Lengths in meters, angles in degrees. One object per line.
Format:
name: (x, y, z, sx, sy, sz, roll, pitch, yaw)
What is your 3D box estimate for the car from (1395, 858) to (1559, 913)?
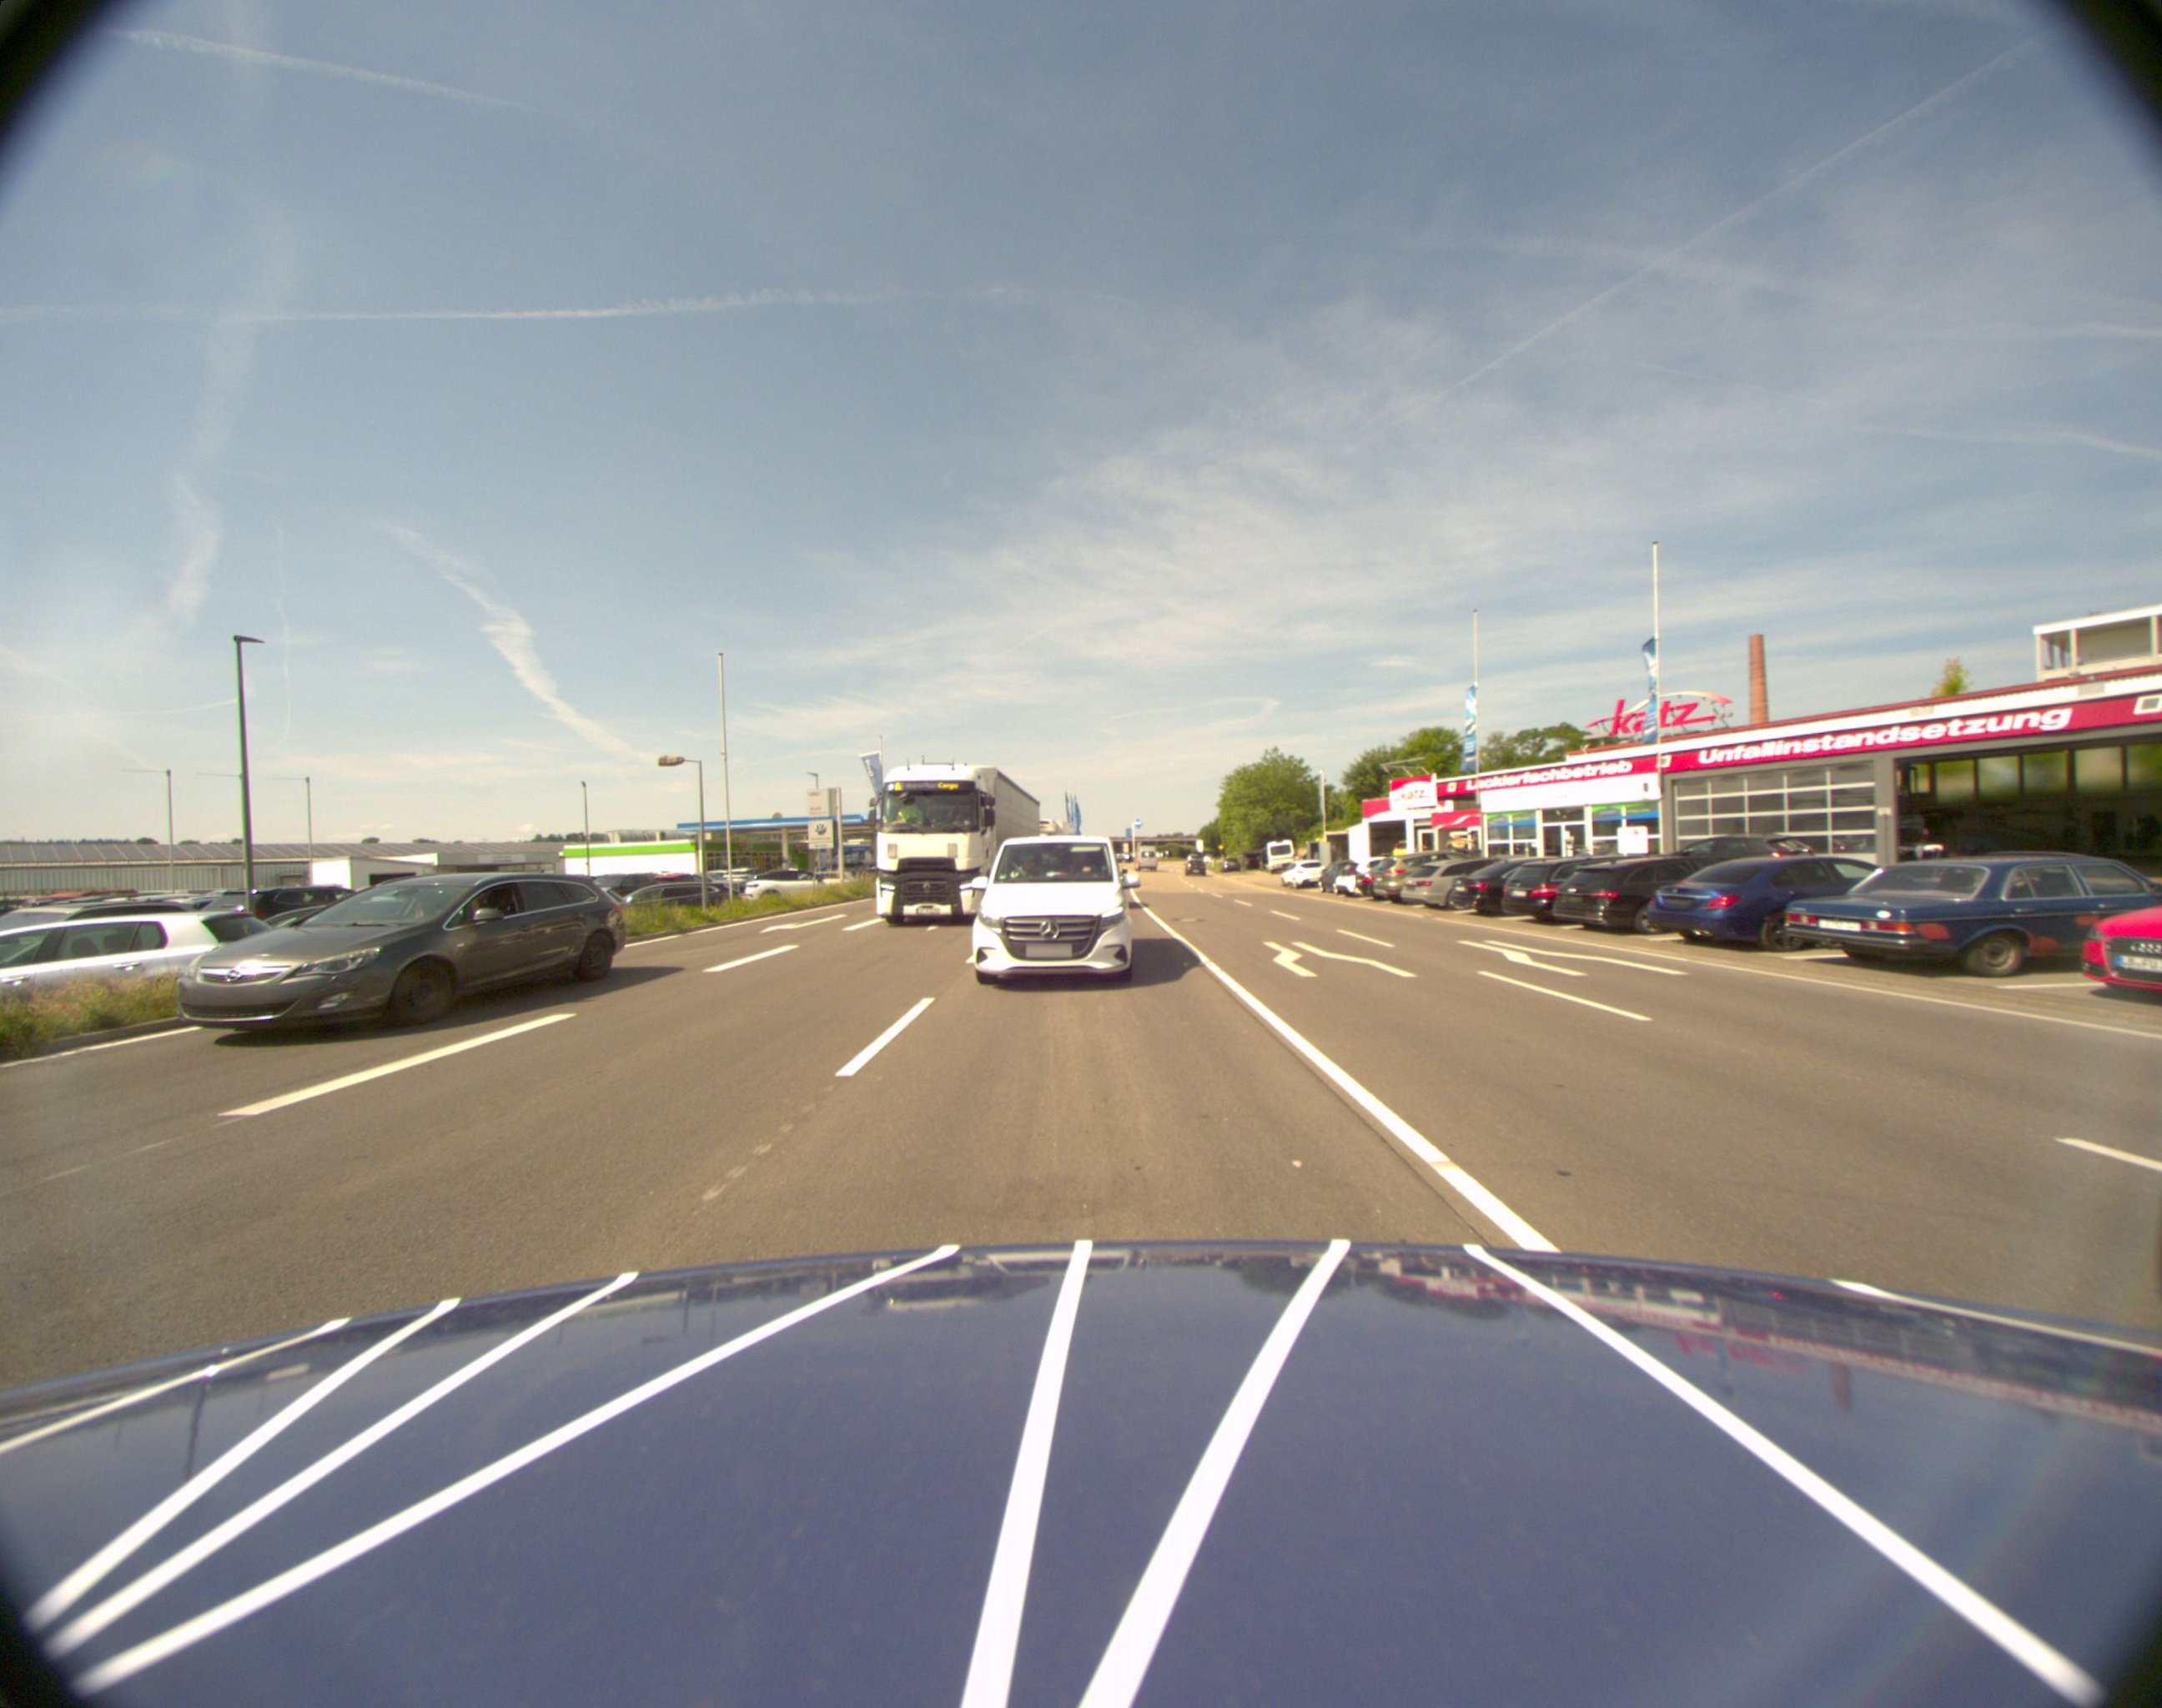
car: (11.681, 0.899, 22.595, 3.974, 1.484, 1.739, -1, 0, -2)

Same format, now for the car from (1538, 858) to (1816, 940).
car: (11.710, 0.846, 15.168, 3.997, 1.443, 1.946, -1, 0, 1)

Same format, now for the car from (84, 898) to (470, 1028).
car: (-12.609, 1.613, 12.373, 4.007, 1.543, 1.771, -1, 0, -35)

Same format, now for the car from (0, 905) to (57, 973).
car: (-29.436, 2.295, 18.813, 1.821, 1.719, 4.540, -1, 0, 6)

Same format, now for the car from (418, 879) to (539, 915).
car: (-28.178, 1.975, 35.749, 1.774, 1.432, 4.540, -1, 0, 6)

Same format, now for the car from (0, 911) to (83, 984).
car: (-26.931, 2.322, 17.460, 1.774, 1.644, 4.540, -1, 0, 6)

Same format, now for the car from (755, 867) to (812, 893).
car: (-19.884, 1.719, 50.927, 1.774, 1.571, 4.150, -1, 0, 6)

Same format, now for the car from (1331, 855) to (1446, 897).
car: (12.234, 0.871, 30.381, 3.798, 1.542, 1.941, -1, 0, -1)

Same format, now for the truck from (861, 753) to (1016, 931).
truck: (-3.475, -0.273, 20.179, 2.647, 3.963, 6.042, -1, 0, 2)

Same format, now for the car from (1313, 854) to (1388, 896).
car: (11.823, 0.871, 33.565, 1.998, 1.546, 4.001, -5, 0, 4)

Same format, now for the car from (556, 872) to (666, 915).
car: (-20.931, 1.717, 34.098, 1.774, 1.644, 4.540, -1, 0, 6)

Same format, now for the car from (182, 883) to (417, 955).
car: (-21.831, 1.736, 21.565, 1.774, 1.644, 4.539, -1, 0, 4)

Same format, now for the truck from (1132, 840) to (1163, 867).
truck: (7.038, -0.041, 81.562, 2.442, 2.820, 6.040, -1, 0, -3)

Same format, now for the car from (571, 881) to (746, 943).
car: (-12.935, 1.710, 23.464, 4.545, 1.571, 1.772, -1, 0, -31)

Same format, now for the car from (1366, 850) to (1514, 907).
car: (11.801, 0.781, 25.174, 3.996, 1.717, 1.871, -1, 0, 2)

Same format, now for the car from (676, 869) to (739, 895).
car: (-25.010, 1.826, 51.072, 1.774, 1.571, 4.240, -1, 0, 6)

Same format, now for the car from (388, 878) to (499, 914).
car: (-30.722, 1.982, 36.791, 1.607, 1.523, 4.131, -1, 0, 6)

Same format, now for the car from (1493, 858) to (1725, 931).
car: (11.829, 0.880, 17.255, 3.877, 1.490, 1.949, -1, 0, 3)

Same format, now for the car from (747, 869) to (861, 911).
car: (-12.259, 1.535, 33.626, 4.544, 1.645, 1.772, -1, 0, -26)

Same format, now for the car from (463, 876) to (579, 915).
car: (-25.874, 1.884, 35.322, 1.689, 1.517, 4.540, -1, 0, 6)

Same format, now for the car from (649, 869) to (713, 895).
car: (-27.279, 1.874, 52.028, 1.720, 1.571, 4.326, -1, 0, 6)

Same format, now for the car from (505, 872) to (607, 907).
car: (-28.119, 1.867, 40.891, 1.773, 1.644, 4.541, -1, 0, 9)

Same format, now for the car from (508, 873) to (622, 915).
car: (-23.442, 1.769, 34.747, 1.774, 1.644, 4.540, -1, 0, 6)

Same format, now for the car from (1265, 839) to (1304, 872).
car: (16.504, 0.104, 61.444, 2.435, 2.529, 6.050, -2, 0, 20)

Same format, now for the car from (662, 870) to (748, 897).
car: (-23.268, 1.815, 47.091, 4.532, 1.571, 1.777, -1, 0, 7)

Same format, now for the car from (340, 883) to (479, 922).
car: (-27.649, 1.972, 31.333, 4.530, 1.450, 1.951, -1, 0, 12)

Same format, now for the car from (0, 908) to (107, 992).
car: (-23.984, 2.126, 15.700, 1.969, 1.644, 4.536, -1, 0, -3)

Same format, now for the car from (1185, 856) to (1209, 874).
car: (10.181, 0.920, 66.682, 1.858, 1.452, 4.002, -1, 0, 6)

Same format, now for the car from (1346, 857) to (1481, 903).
car: (12.010, 0.920, 27.646, 3.997, 1.516, 2.000, -1, 0, -1)

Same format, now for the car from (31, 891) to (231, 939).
car: (-37.052, 2.326, 29.817, 1.819, 1.466, 4.545, -1, 0, 22)

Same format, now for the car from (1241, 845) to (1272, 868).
car: (18.117, 0.252, 78.701, 2.438, 2.250, 5.341, -2, 0, 5)

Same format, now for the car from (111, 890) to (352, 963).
car: (-24.102, 1.994, 21.862, 1.774, 1.644, 4.434, -1, 0, 4)

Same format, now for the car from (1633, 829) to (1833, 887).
car: (20.580, 0.132, 24.262, 1.877, 1.644, 4.530, -2, 0, -16)

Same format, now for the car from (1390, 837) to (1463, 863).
car: (24.248, -0.273, 53.398, 4.539, 1.644, 1.873, -2, 0, -18)

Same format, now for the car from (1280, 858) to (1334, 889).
car: (11.909, 0.986, 40.326, 1.765, 1.406, 4.001, -5, 0, 3)

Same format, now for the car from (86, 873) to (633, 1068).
car: (-7.478, 1.055, 8.721, 1.998, 1.511, 4.449, -1, 0, 0)

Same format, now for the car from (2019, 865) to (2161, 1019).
car: (12.313, 0.827, 7.412, 3.948, 1.423, 1.828, -1, 0, 2)

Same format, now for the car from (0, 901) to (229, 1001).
car: (-21.395, 1.962, 15.907, 1.908, 1.644, 4.708, -1, 0, -3)

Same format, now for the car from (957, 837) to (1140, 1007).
car: (-0.332, 0.755, 11.365, 1.993, 1.858, 5.803, -1, 0, 1)

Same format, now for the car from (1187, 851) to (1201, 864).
car: (17.128, 0.537, 114.916, 1.975, 1.812, 4.205, 0, 0, 7)

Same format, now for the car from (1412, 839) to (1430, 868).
car: (22.033, -0.041, 49.211, 0.881, 1.825, 0.846, -2, 0, 13)

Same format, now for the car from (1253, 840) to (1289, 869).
car: (18.170, 0.044, 72.843, 2.438, 2.529, 5.341, -2, 0, 5)

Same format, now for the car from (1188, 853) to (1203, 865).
car: (17.406, 0.717, 115.532, 2.053, 1.812, 4.511, 0, 0, 7)

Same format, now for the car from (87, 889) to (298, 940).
car: (-31.271, 2.081, 26.956, 1.819, 1.423, 4.491, -1, 0, 22)

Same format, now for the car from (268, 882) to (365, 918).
car: (-40.021, 2.392, 39.767, 4.527, 1.718, 2.072, -1, 0, 24)

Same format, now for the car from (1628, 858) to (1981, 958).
car: (11.722, 0.832, 12.544, 3.997, 1.445, 1.906, -1, 0, 1)

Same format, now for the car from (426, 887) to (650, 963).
car: (-12.570, 1.594, 17.940, 4.005, 1.449, 1.772, -1, 0, -25)

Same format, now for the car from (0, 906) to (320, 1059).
car: (-12.573, 1.561, 9.466, 4.005, 1.549, 1.709, -1, 0, -27)

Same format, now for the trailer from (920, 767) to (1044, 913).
trailer: (-3.188, -0.411, 27.882, 2.613, 4.203, 11.293, -1, 0, 2)

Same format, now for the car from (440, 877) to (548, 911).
car: (-32.731, 2.188, 42.549, 1.772, 1.644, 4.543, -1, 0, 16)

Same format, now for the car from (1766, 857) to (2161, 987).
car: (12.002, 0.819, 9.977, 4.258, 1.459, 1.874, -1, 0, 2)

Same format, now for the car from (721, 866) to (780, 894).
car: (-22.232, 1.702, 51.329, 1.712, 1.702, 4.262, -1, 0, 6)

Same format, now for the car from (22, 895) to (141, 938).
car: (-42.874, 2.645, 32.599, 4.527, 1.644, 2.072, -2, 0, 24)

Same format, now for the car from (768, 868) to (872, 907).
car: (-12.512, 1.540, 36.439, 4.543, 1.645, 1.772, -1, 0, -25)

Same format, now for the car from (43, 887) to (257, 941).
car: (-33.693, 2.093, 27.695, 1.819, 1.574, 4.545, -1, 0, 22)

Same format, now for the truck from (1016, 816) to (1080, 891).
truck: (-1.764, -0.021, 44.976, 2.646, 3.963, 9.242, -1, 0, 4)

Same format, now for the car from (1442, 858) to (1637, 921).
car: (11.846, 0.892, 19.830, 3.996, 1.474, 1.756, -1, 0, 3)

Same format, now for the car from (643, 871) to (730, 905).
car: (-20.552, 1.733, 39.806, 1.774, 1.571, 4.540, -1, 0, 6)

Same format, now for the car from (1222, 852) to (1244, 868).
car: (14.963, 0.615, 75.186, 1.827, 1.517, 4.461, 0, 0, 7)
